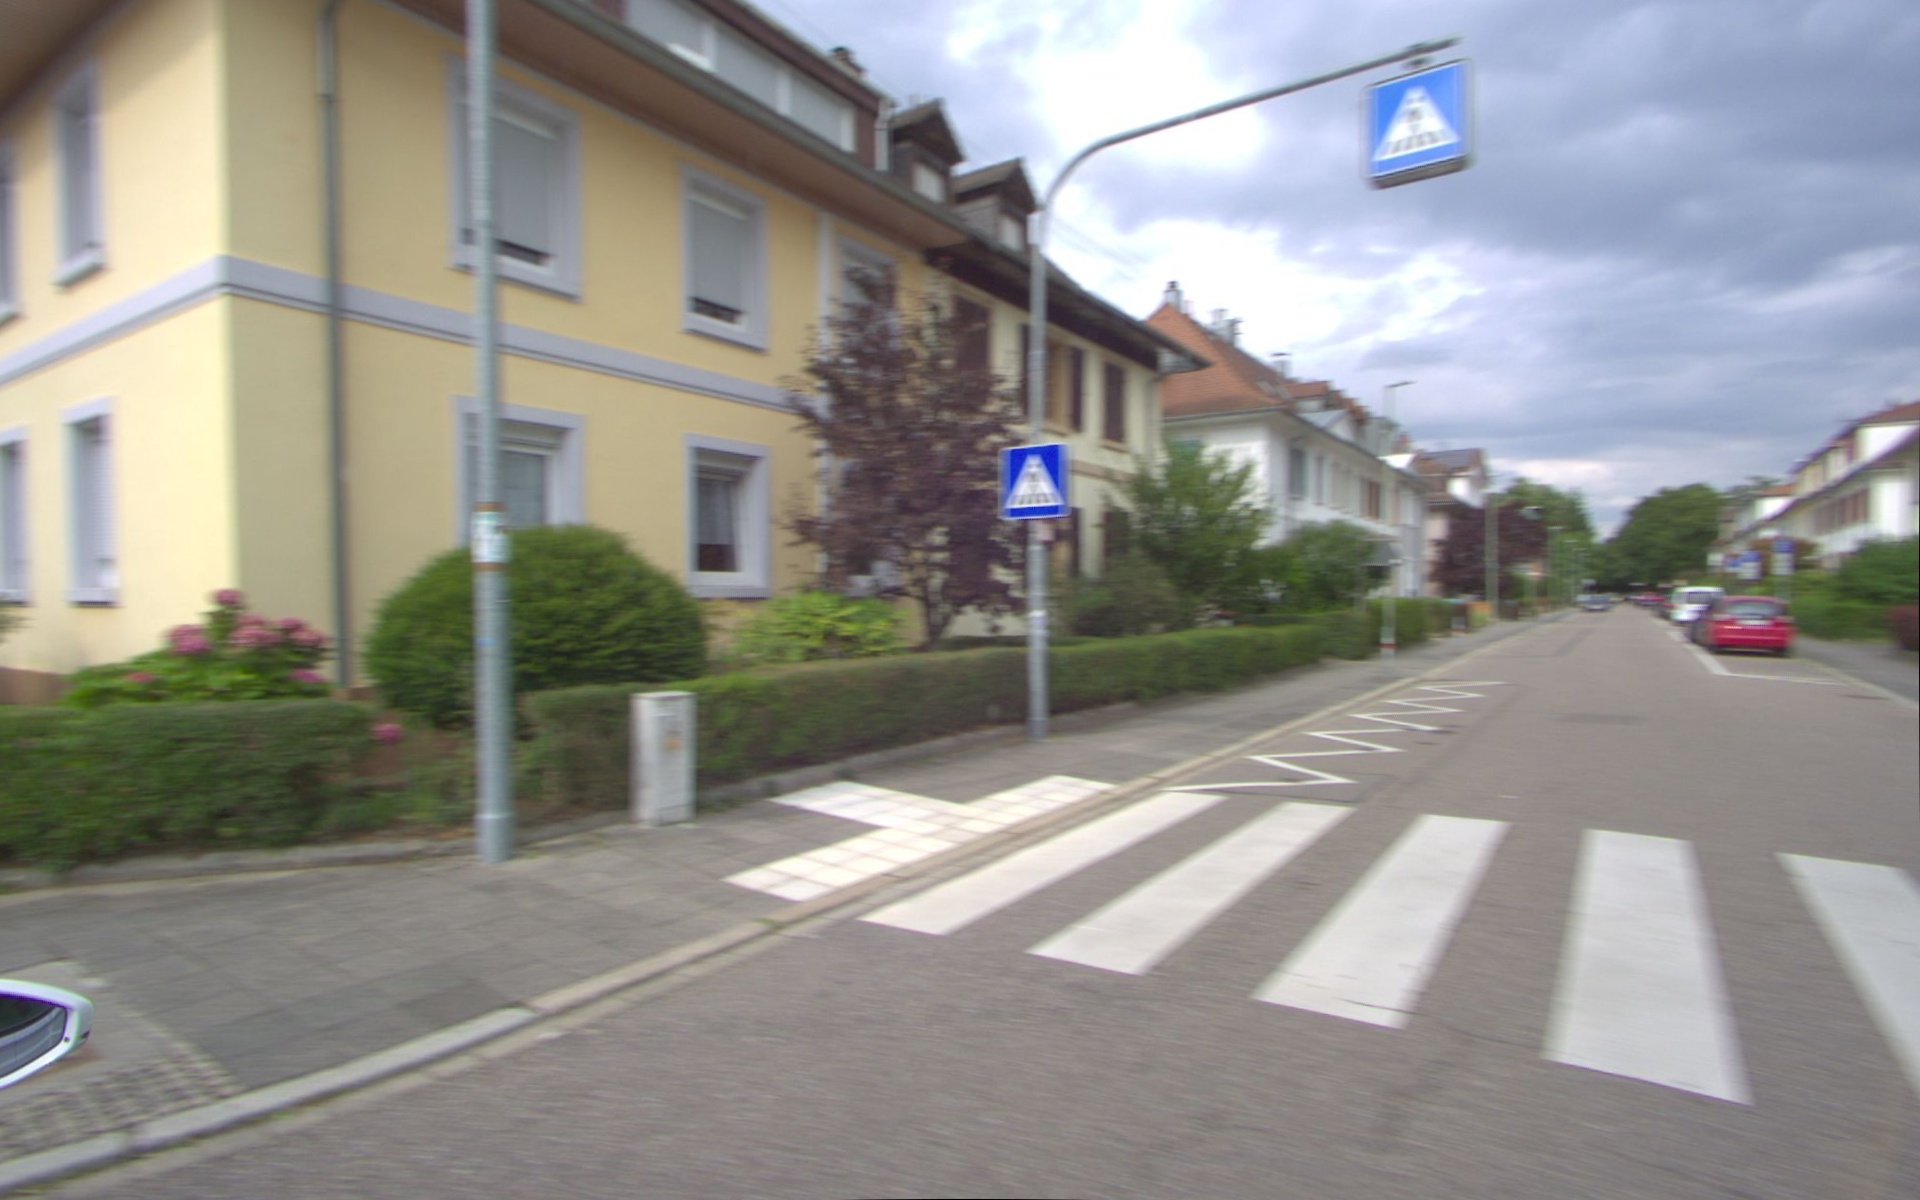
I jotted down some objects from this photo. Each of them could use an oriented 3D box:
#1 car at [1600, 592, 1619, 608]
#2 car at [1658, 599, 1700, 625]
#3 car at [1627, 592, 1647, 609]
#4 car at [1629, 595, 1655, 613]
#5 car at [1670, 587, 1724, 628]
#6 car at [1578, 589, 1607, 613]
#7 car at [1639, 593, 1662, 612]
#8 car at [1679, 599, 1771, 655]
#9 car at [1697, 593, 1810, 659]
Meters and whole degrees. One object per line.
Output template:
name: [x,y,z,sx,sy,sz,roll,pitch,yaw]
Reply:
car: [87.654,0.038,135.106,1.972,2.041,3.976,2,1,34]
car: [45.100,0.738,62.886,1.972,1.595,3.977,0,0,34]
car: [86.192,0.072,127.488,1.972,2.040,3.977,0,1,33]
car: [66.769,0.377,98.041,1.708,1.729,3.982,2,1,29]
car: [36.526,0.352,49.717,1.972,1.929,3.976,0,0,34]
car: [54.186,0.064,85.747,1.972,2.040,3.976,0,1,34]
car: [74.864,0.268,108.605,1.972,2.041,3.976,2,1,34]
car: [23.519,0.771,30.903,1.972,1.595,3.977,0,0,34]
car: [20.829,0.624,26.443,1.972,1.595,3.977,0,0,34]
